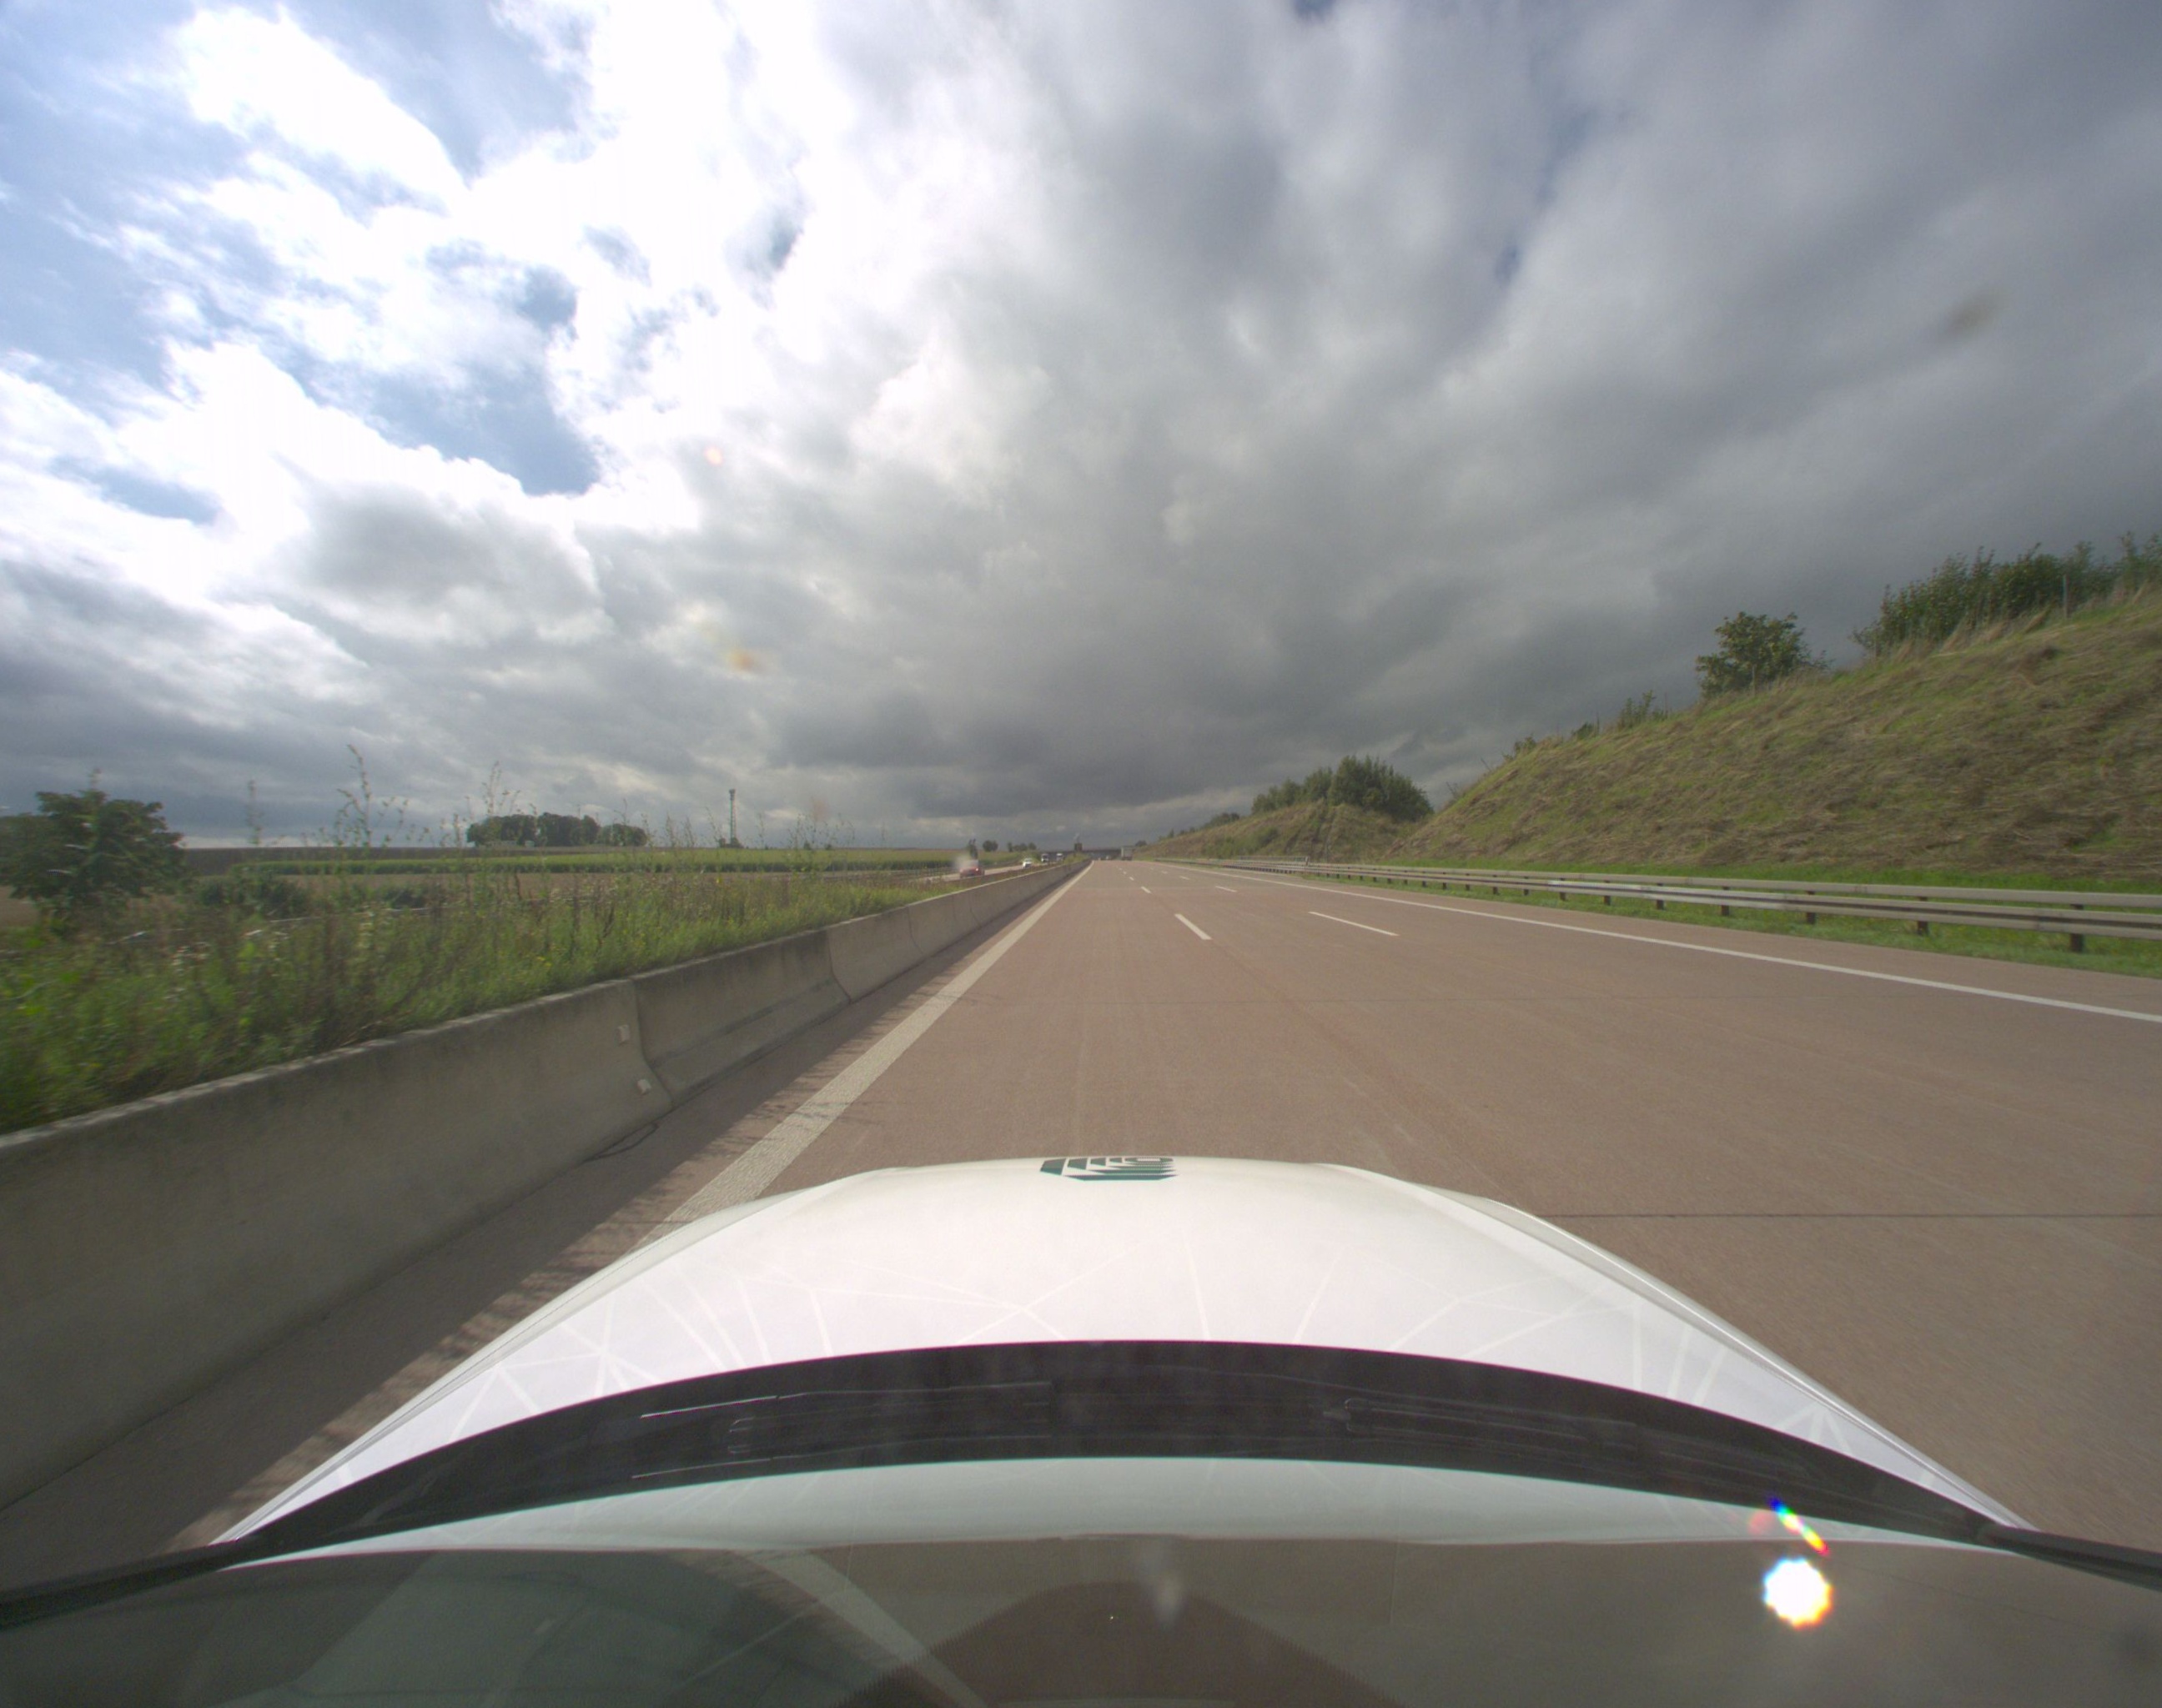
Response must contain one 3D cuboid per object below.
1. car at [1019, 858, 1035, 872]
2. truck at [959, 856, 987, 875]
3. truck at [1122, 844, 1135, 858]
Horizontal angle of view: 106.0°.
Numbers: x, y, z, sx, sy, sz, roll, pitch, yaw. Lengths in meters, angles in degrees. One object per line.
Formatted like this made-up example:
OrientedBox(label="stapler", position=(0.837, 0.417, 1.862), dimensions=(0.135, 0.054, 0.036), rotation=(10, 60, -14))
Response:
OrientedBox(label="car", position=(-8.549, 1.750, 129.180), dimensions=(1.985, 2.070, 4.715), rotation=(-2, 0, 3))
OrientedBox(label="truck", position=(-9.789, 1.019, 74.350), dimensions=(1.701, 1.574, 4.983), rotation=(-4, 0, 1))
OrientedBox(label="truck", position=(13.527, -0.780, 232.856), dimensions=(3.603, 3.945, 11.180), rotation=(0, 0, 2))
